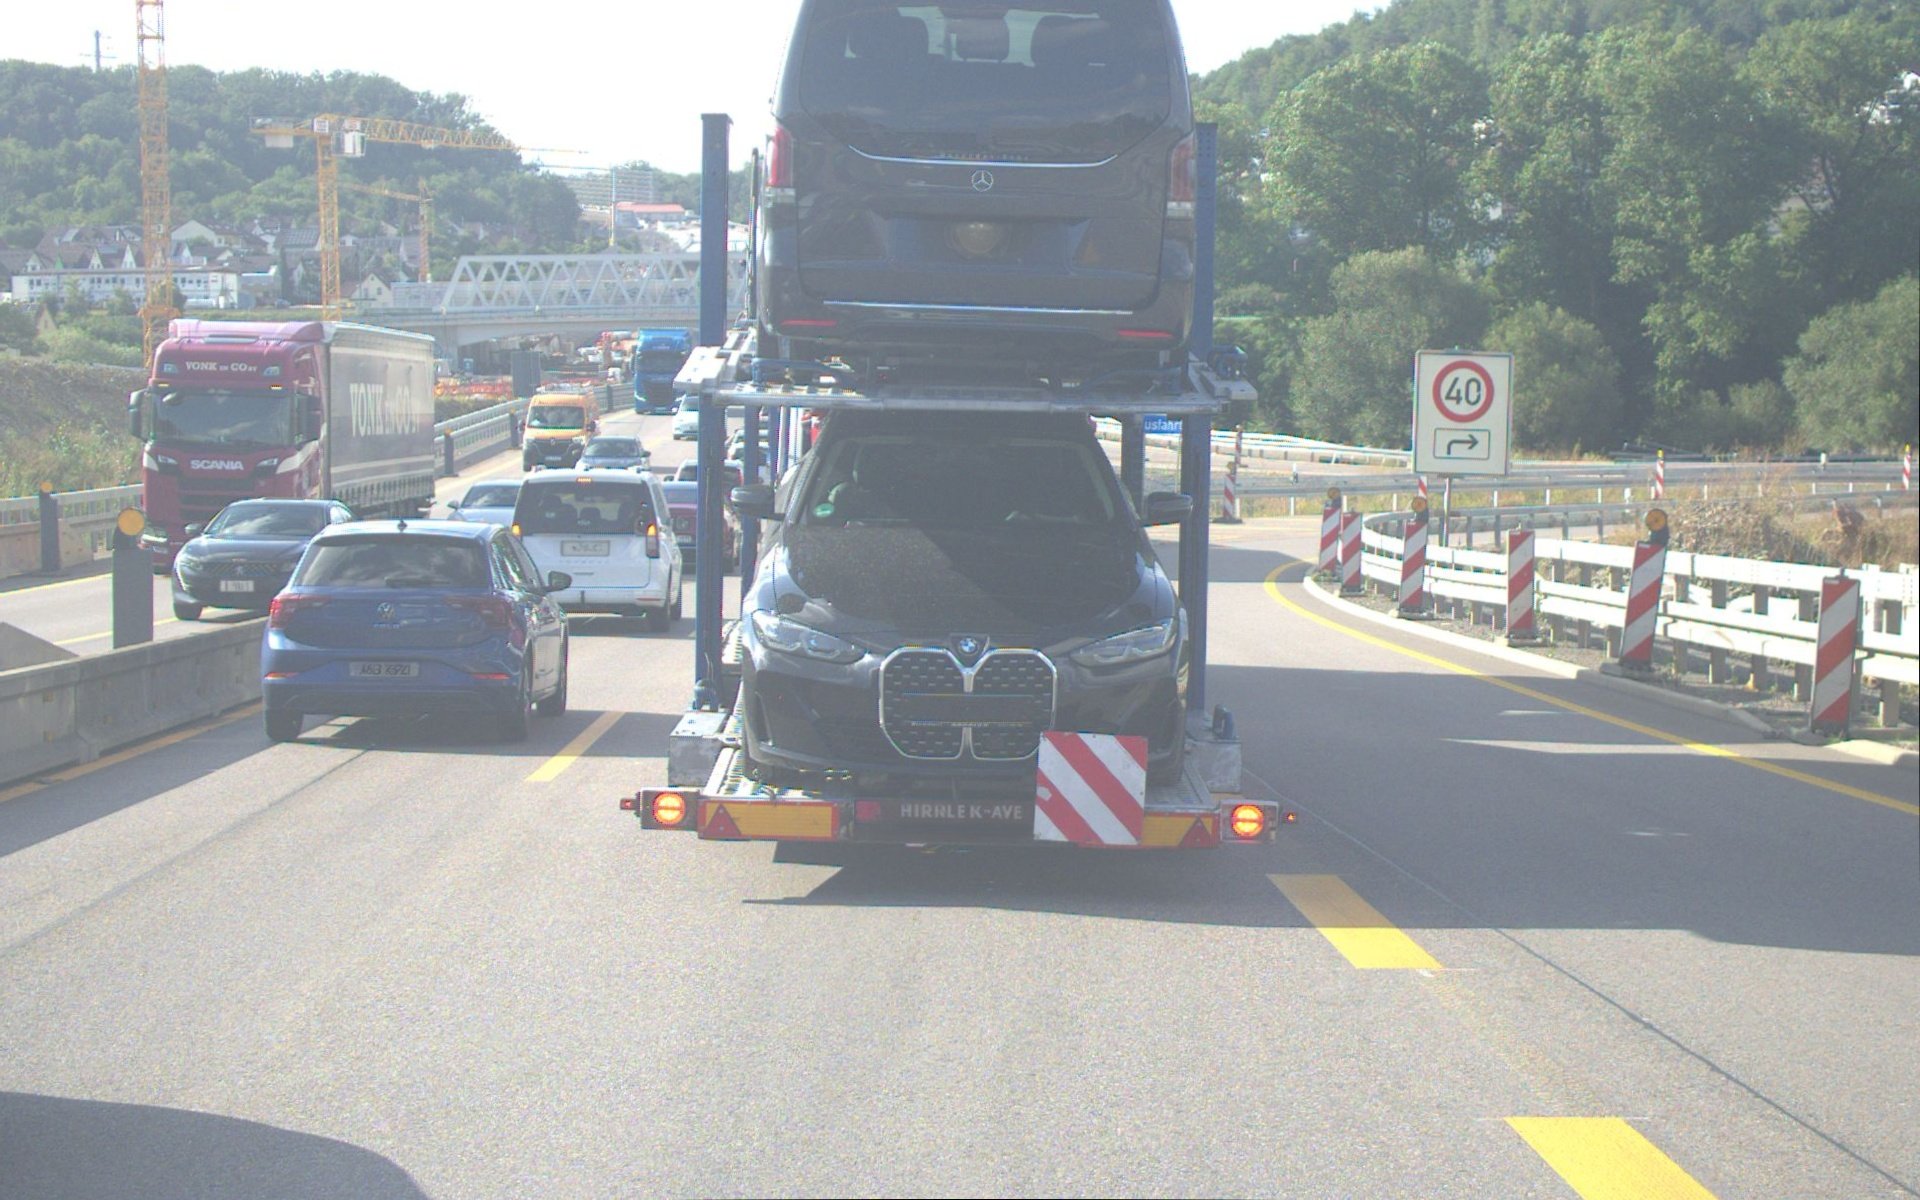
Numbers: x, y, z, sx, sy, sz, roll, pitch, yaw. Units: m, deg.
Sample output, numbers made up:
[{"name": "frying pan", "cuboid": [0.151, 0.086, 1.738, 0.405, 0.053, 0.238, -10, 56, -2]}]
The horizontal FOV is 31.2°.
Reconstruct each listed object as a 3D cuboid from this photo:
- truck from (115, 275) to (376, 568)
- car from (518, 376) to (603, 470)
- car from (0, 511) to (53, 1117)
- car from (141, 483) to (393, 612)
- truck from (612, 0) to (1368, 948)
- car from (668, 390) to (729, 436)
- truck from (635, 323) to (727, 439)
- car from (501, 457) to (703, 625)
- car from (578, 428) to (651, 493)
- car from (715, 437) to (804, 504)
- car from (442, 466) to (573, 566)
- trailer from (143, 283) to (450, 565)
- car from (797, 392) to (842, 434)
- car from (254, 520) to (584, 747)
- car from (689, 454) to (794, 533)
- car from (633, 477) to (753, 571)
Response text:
[{"name": "truck", "cuboid": [-11.466, -2.779, 55.740, 2.914, 4.372, 6.287, 2, 1, -1]}, {"name": "car", "cuboid": [-12.797, -5.647, 110.479, 1.993, 2.869, 6.065, 1, 2, 0]}, {"name": "car", "cuboid": [-3.223, 0.561, 6.673, 1.770, 1.486, 4.517, 0, 1, 0]}, {"name": "car", "cuboid": [-8.275, -0.647, 41.458, 1.821, 1.435, 4.613, 1, 1, 4]}, {"name": "truck", "cuboid": [-0.104, -1.052, 22.533, 2.753, 3.940, 18.893, 2, 2, -1]}, {"name": "car", "cuboid": [-9.986, -7.173, 131.578, 1.993, 1.678, 4.001, 1, 3, 1]}, {"name": "truck", "cuboid": [-13.515, -10.557, 167.733, 2.822, 4.772, 13.053, 1, 0, 2]}, {"name": "car", "cuboid": [-4.038, -0.641, 39.341, 1.823, 1.786, 4.000, 1, 0, 0]}, {"name": "car", "cuboid": [-9.180, -3.693, 91.606, 1.844, 1.642, 4.237, 1, 1, -5]}, {"name": "car", "cuboid": [-5.158, -3.326, 88.893, 1.993, 1.660, 4.000, 1, 2, 0]}, {"name": "car", "cuboid": [-7.870, -1.464, 60.097, 1.844, 1.642, 4.505, 1, 1, -2]}, {"name": "trailer", "cuboid": [-11.640, -2.997, 61.890, 2.976, 4.407, 13.818, 2, 1, -1]}, {"name": "car", "cuboid": [-6.118, -8.107, 149.355, 1.844, 1.642, 4.505, 1, 1, -3]}, {"name": "car", "cuboid": [-3.610, 0.176, 23.546, 1.722, 1.417, 4.000, 0, 1, -1]}, {"name": "car", "cuboid": [-4.480, -2.208, 71.046, 1.993, 1.546, 4.001, 1, 2, -2]}, {"name": "car", "cuboid": [-4.635, -1.297, 60.241, 1.993, 1.551, 4.401, 0, 0, -3]}]
